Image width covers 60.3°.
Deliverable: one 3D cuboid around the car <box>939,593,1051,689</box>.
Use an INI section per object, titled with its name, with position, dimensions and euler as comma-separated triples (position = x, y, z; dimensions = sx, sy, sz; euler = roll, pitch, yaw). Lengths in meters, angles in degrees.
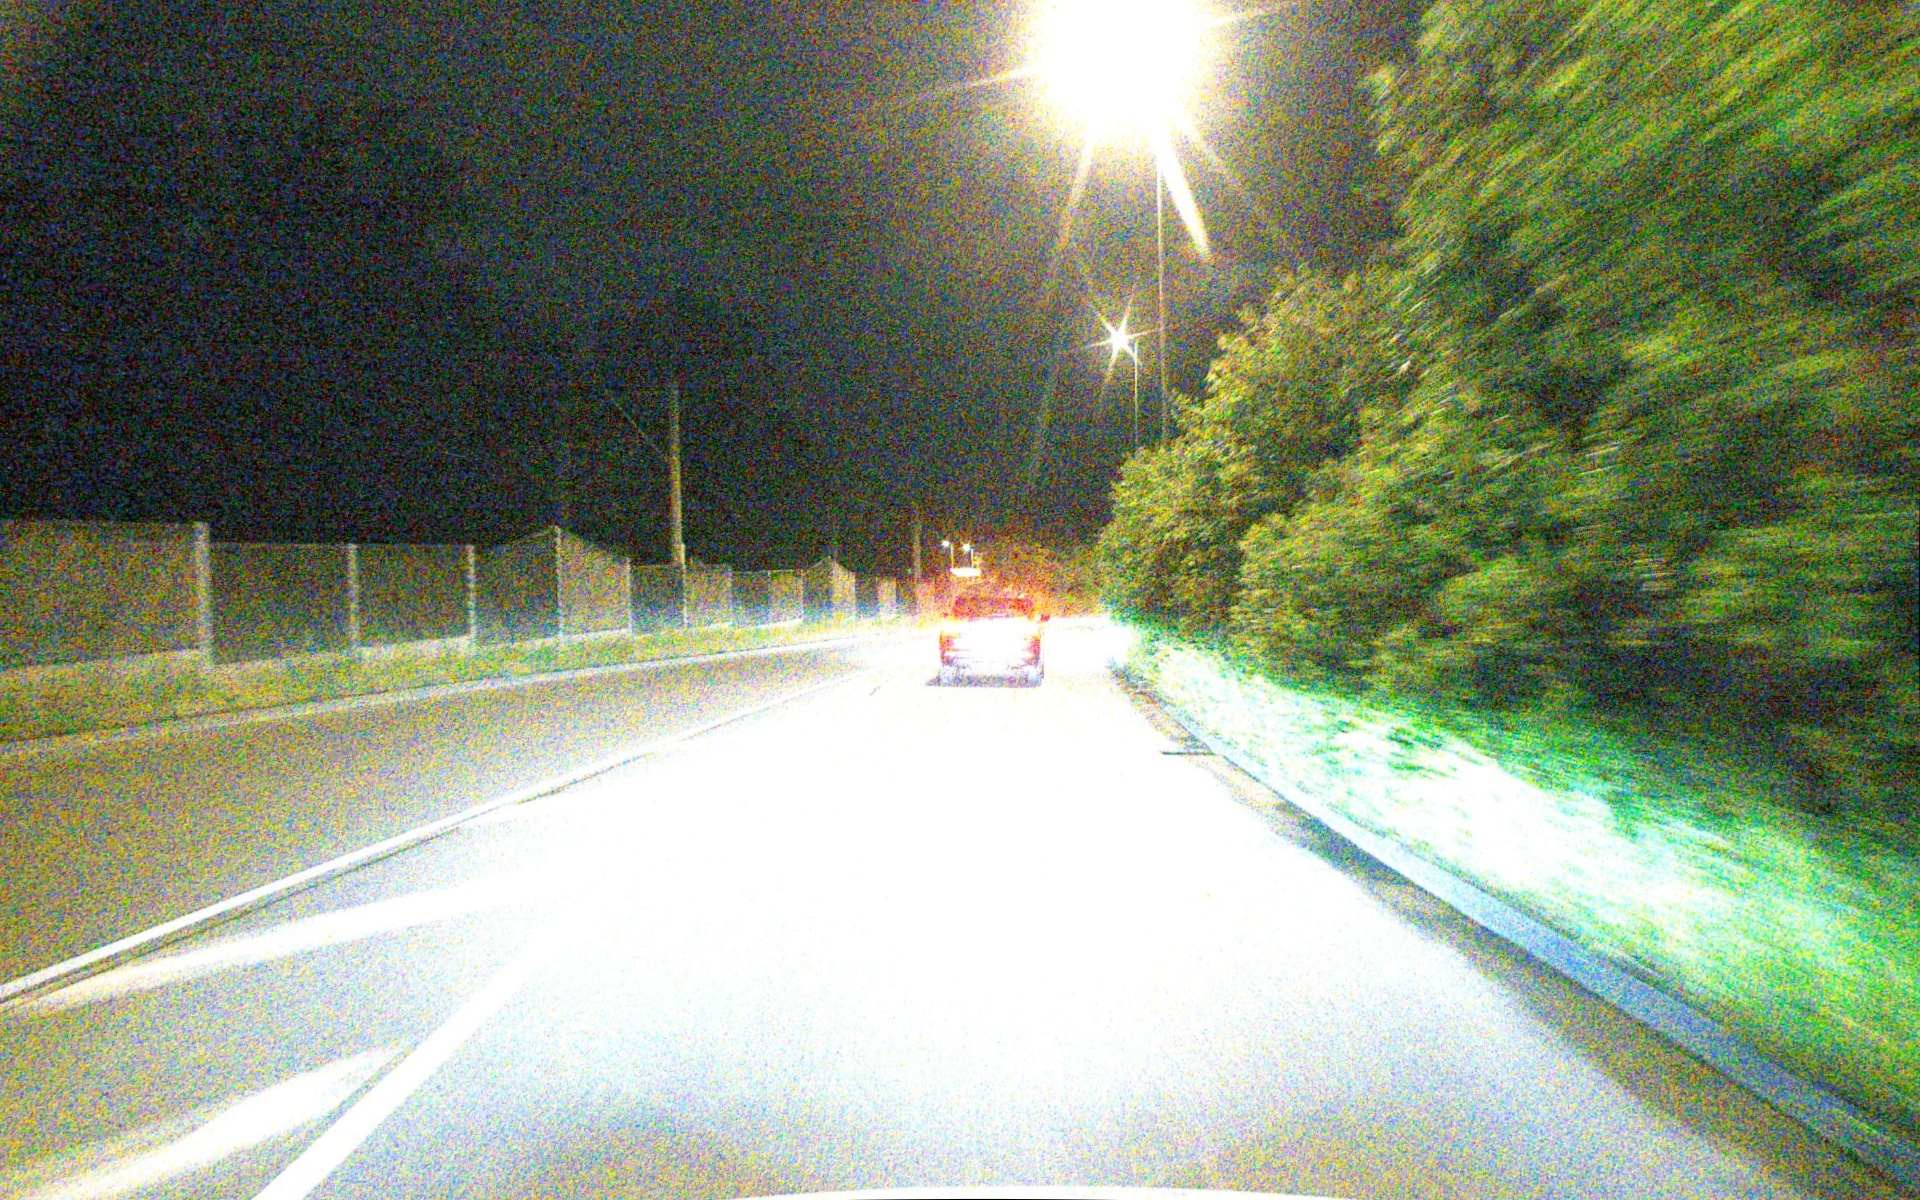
[car]
position = 0.696, 0.673, 29.592
dimensions = 1.776, 1.601, 3.946
euler = 0, 0, 4
